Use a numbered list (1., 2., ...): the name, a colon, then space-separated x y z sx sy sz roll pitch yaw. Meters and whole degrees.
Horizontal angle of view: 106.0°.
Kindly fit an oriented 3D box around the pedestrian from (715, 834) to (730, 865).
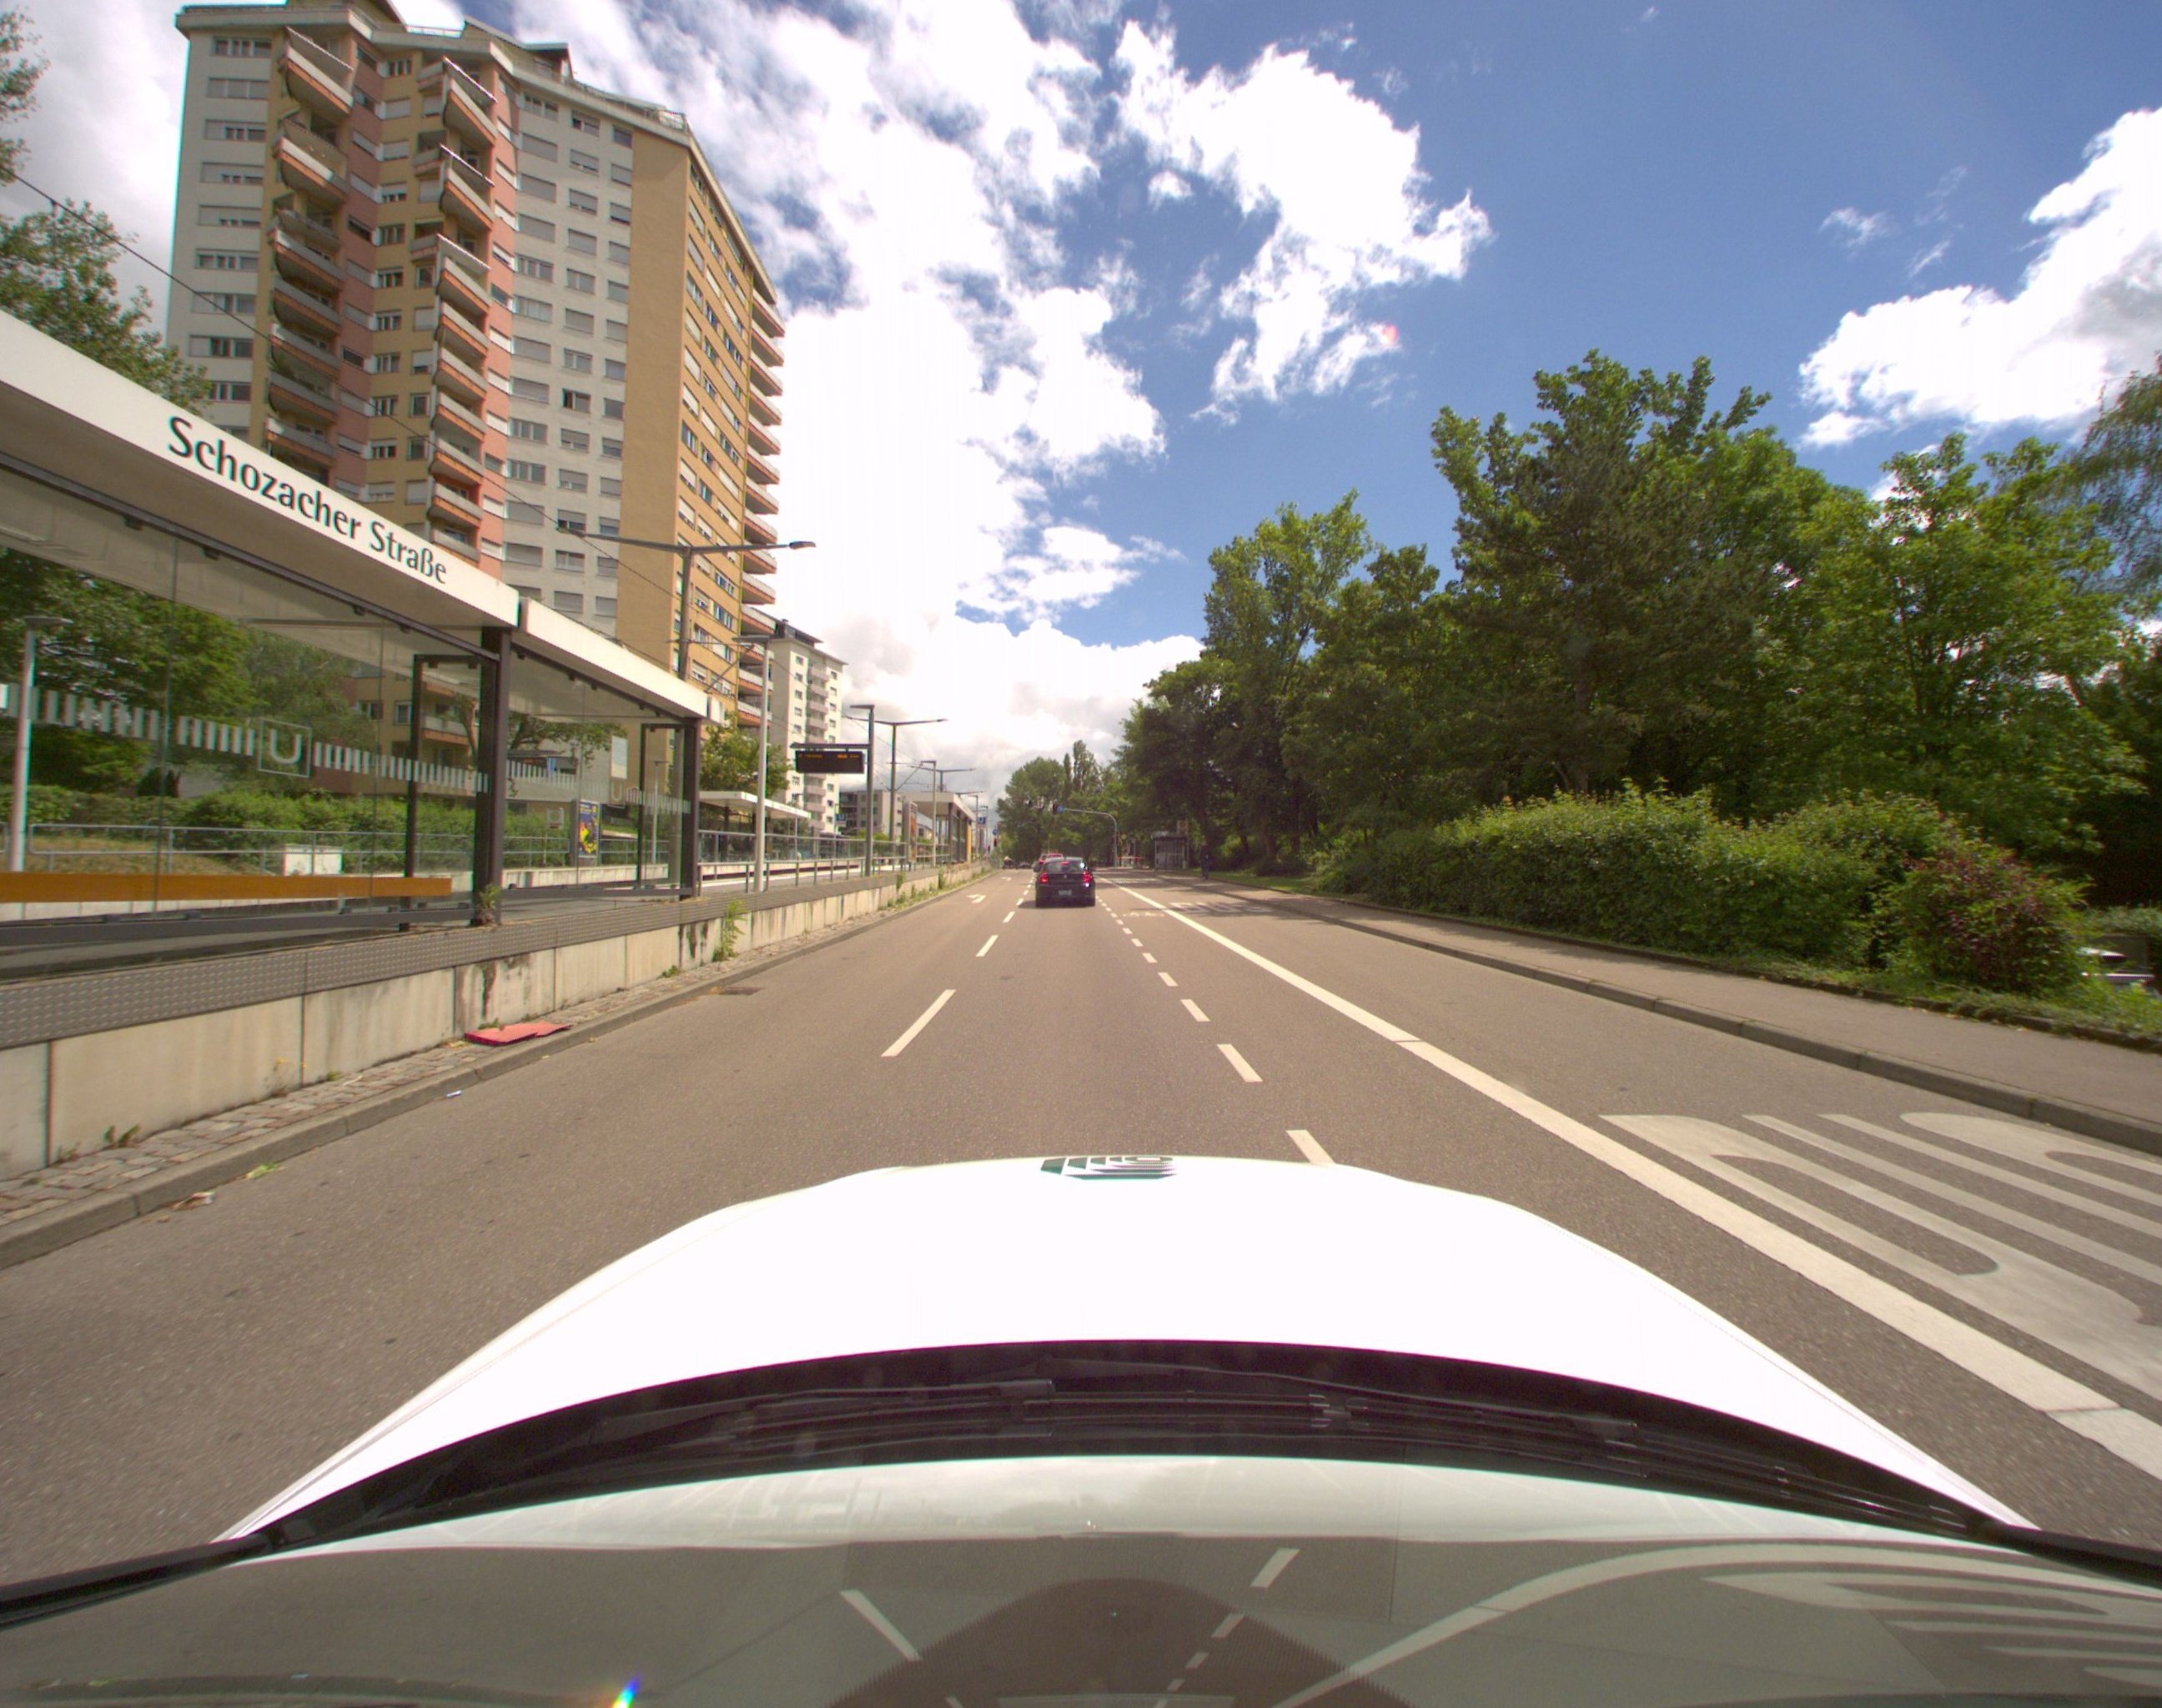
1. pedestrian: -16.243 -0.200 36.893 0.542 1.380 0.519 -1 -3 -12

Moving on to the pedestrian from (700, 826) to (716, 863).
1. pedestrian: -16.481 -0.409 35.985 0.523 1.644 0.558 0 -1 -35

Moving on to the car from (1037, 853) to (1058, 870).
1. car: -2.920 0.660 70.584 1.651 1.419 3.511 0 0 -4

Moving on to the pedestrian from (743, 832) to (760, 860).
1. pedestrian: -16.382 -0.374 40.509 0.642 1.369 0.506 -1 -1 -3

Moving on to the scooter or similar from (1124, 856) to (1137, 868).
1. scooter or similar: 5.078 0.817 83.831 1.292 1.189 0.382 -1 -1 -19

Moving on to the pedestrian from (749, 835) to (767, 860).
1. pedestrian: -16.405 -0.337 41.380 0.740 1.236 0.517 -1 -1 -3

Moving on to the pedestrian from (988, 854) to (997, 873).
1. pedestrian: -7.721 0.843 71.155 0.699 1.632 0.637 -1 -1 -3

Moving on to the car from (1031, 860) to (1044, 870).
1. car: -6.615 1.671 123.906 1.648 1.419 3.518 -1 0 1

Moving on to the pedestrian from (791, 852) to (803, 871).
1. pedestrian: -25.406 0.634 72.872 0.852 1.696 0.691 0 -1 9

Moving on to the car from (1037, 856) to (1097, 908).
1. car: -0.402 0.776 24.223 1.650 1.419 3.515 0 0 -1

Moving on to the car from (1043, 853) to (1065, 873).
1. car: -2.082 0.686 62.177 1.590 1.419 3.514 0 0 -2

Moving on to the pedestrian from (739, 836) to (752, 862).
1. pedestrian: -16.268 -0.226 39.484 0.520 1.236 0.540 -1 -1 -15

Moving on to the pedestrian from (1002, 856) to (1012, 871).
1. pedestrian: -7.148 0.944 78.752 0.864 1.442 0.797 -1 -1 -7

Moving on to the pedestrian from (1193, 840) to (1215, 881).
1. pedestrian: 5.844 0.324 38.629 0.799 1.895 1.269 1 -1 -2

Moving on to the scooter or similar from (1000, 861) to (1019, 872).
1. scooter or similar: -6.852 1.166 78.271 1.785 1.051 0.408 -1 0 -18

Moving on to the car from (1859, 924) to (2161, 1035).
1. car: 17.574 2.241 15.454 1.863 1.469 4.002 -1 0 2

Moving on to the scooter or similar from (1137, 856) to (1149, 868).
1. scooter or similar: 6.443 0.808 84.669 1.108 1.258 0.330 -1 -1 -15
